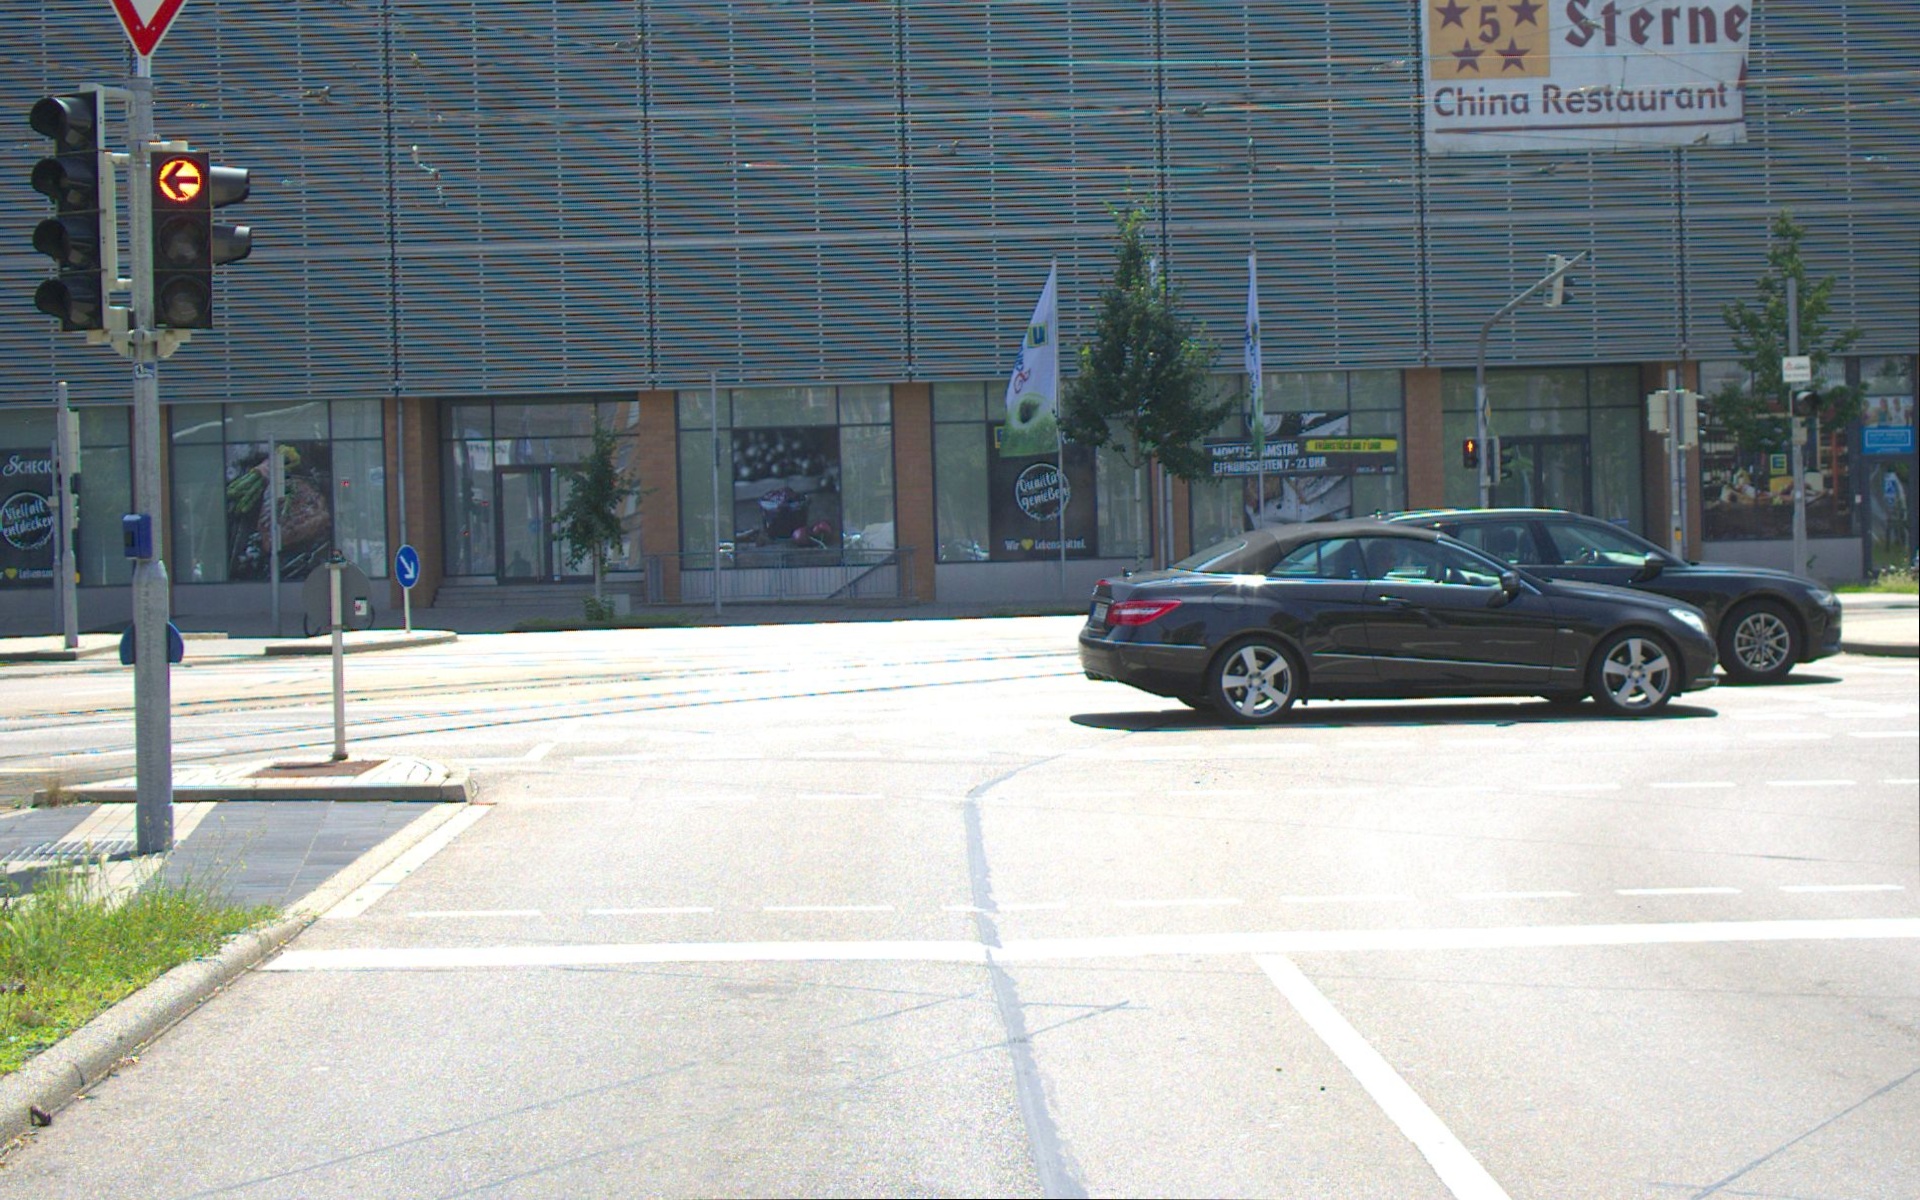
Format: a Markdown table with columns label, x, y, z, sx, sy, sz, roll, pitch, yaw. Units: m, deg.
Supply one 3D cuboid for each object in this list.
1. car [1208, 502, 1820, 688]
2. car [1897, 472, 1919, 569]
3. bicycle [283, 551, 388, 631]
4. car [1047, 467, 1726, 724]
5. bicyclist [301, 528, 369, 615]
| label | x | y | z | sx | sy | sz | roll | pitch | yaw |
| --- | --- | --- | --- | --- | --- | --- | --- | --- | --- |
| car | 4.563 | -0.069 | 28.786 | 4.764 | 1.455 | 1.888 | -1 | 2 | -3 |
| car | 17.252 | -1.288 | 55.005 | 3.986 | 1.533 | 1.881 | -1 | 2 | -2 |
| bicycle | -11.453 | -0.180 | 63.183 | 1.062 | 1.385 | 3.023 | 0 | 2 | 7 |
| car | 3.024 | -0.066 | 25.032 | 4.548 | 1.571 | 2.000 | -3 | 2 | -4 |
| bicyclist | -11.466 | -0.522 | 63.081 | 1.040 | 1.566 | 0.777 | 0 | 2 | 6 |
